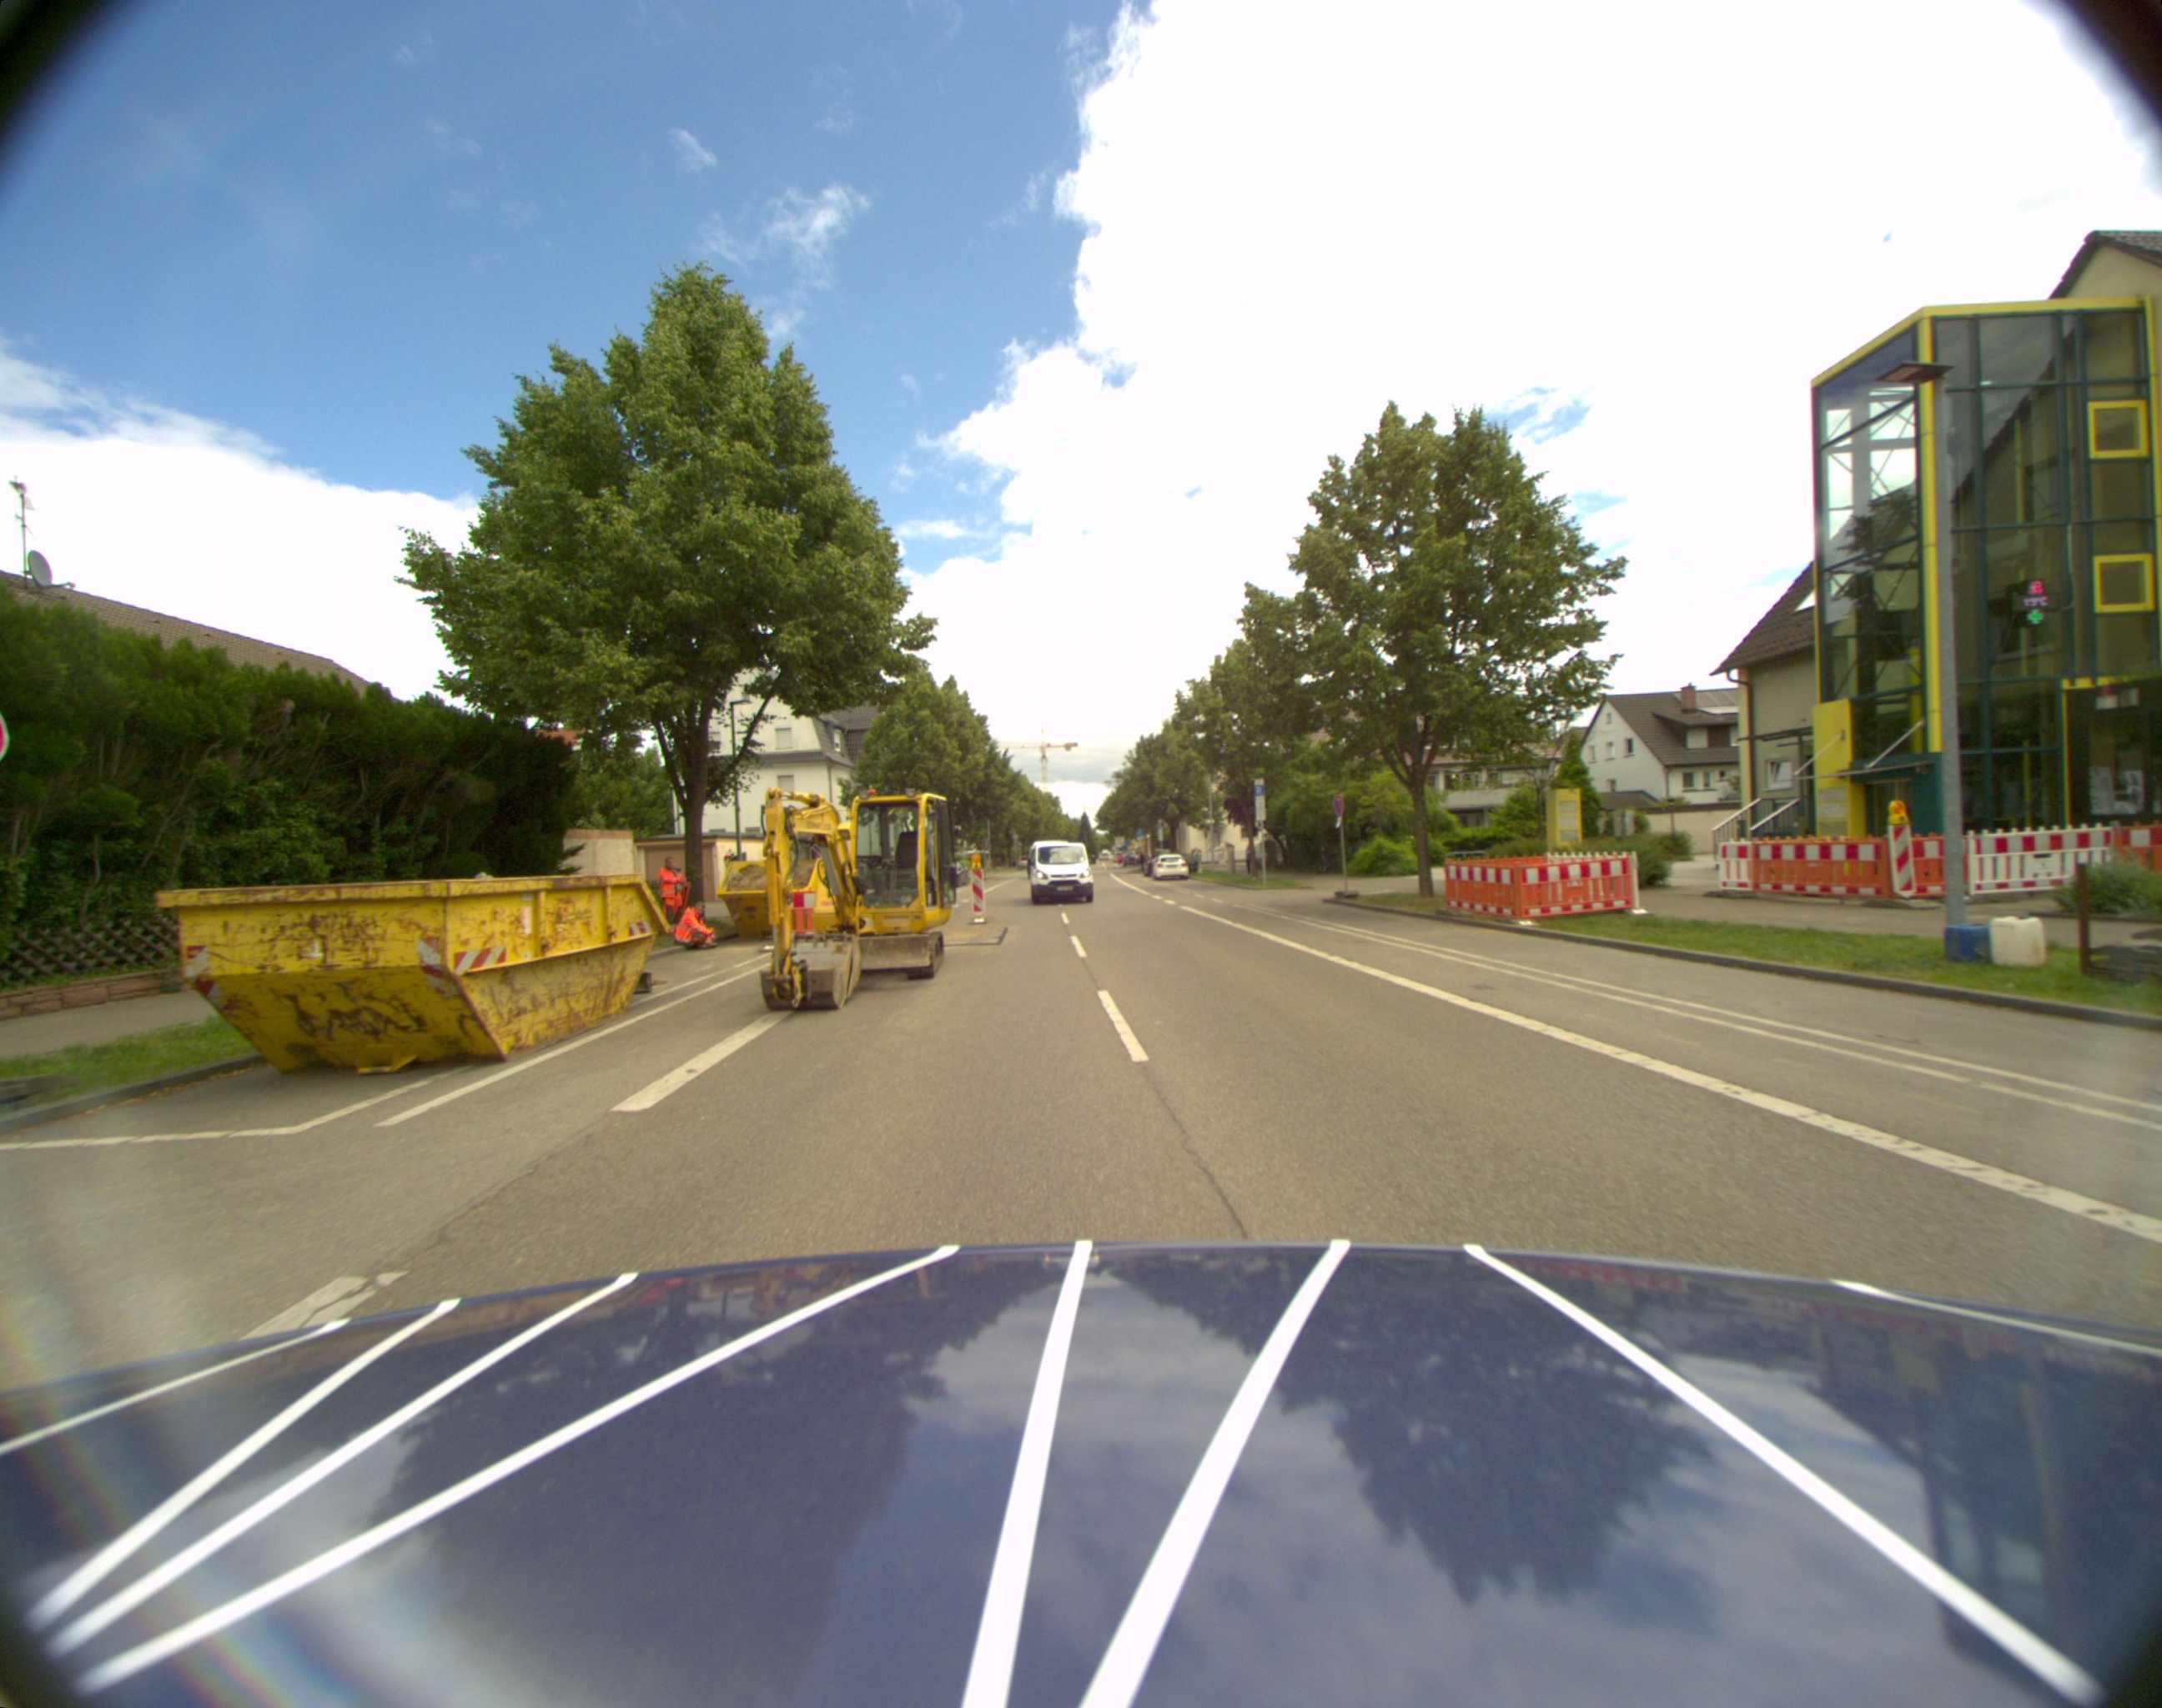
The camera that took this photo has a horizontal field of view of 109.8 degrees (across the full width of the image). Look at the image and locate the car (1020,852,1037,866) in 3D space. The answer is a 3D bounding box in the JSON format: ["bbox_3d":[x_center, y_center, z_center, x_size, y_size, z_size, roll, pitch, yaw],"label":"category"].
[{"bbox_3d":[-6.264,0.610,91.210,1.726,1.571,4.060,-2,0,-1],"label":"car"}]

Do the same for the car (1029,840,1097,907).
[{"bbox_3d":[-0.738,0.613,26.334,1.999,2.002,5.048,-3,0,-5],"label":"car"}]

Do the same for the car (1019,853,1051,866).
[{"bbox_3d":[-6.225,0.748,102.518,4.229,1.628,1.692,-1,0,-4],"label":"car"}]

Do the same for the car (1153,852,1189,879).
[{"bbox_3d":[5.057,0.619,43.168,1.718,1.398,4.300,-2,0,3],"label":"car"}]

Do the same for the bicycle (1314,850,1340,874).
[{"bbox_3d":[11.204,0.341,34.633,0.463,1.042,1.581,-3,1,-6],"label":"bicycle"}]

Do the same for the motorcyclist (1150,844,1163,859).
[{"bbox_3d":[7.031,-0.205,70.743,1.109,1.357,0.753,-2,1,-1],"label":"motorcyclist"}]

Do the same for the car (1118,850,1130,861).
[{"bbox_3d":[6.257,0.195,109.942,1.689,1.532,4.133,-2,0,3],"label":"car"}]

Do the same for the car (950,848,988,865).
[{"bbox_3d":[-17.766,0.409,120.467,5.729,2.576,1.997,-2,0,-3],"label":"car"}]

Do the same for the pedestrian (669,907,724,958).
[{"bbox_3d":[-7.254,1.471,14.376,0.714,0.854,0.673,-2,1,-8],"label":"pedestrian"}]

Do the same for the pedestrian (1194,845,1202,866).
[{"bbox_3d":[8.763,0.126,56.772,0.431,1.543,0.806,-3,1,1],"label":"pedestrian"}]

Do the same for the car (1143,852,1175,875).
[{"bbox_3d":[5.064,0.588,49.661,1.647,1.412,4.020,-2,0,0],"label":"car"}]

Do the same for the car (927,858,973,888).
[{"bbox_3d":[-7.187,0.994,42.028,1.710,1.446,4.616,-2,0,0],"label":"car"}]

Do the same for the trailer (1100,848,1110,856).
[{"bbox_3d":[5.153,-0.401,164.763,1.943,1.667,4.688,-2,0,1],"label":"trailer"}]

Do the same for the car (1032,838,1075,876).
[{"bbox_3d":[-1.972,0.179,56.866,2.218,2.579,7.315,-2,0,5],"label":"car"}]

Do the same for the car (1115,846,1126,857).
[{"bbox_3d":[7.115,-0.458,136.003,1.774,1.760,4.552,-2,0,3],"label":"car"}]

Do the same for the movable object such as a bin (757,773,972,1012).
[{"bbox_3d":[-2.649,0.419,10.233,1.773,2.559,3.739,-2,0,-1],"label":"movable object such as a bin"}]

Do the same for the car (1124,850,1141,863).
[{"bbox_3d":[5.878,0.300,87.204,1.735,1.460,4.301,-2,0,2],"label":"car"}]

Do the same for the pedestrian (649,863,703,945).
[{"bbox_3d":[-8.351,1.020,15.675,0.706,1.625,0.643,-2,1,-2],"label":"pedestrian"}]

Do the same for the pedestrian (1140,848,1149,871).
[{"bbox_3d":[4.852,0.432,58.063,0.543,1.671,0.751,-4,-1,9],"label":"pedestrian"}]

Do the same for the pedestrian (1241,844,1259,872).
[{"bbox_3d":[9.168,0.226,41.229,0.584,1.520,0.697,-3,1,-35],"label":"pedestrian"}]
